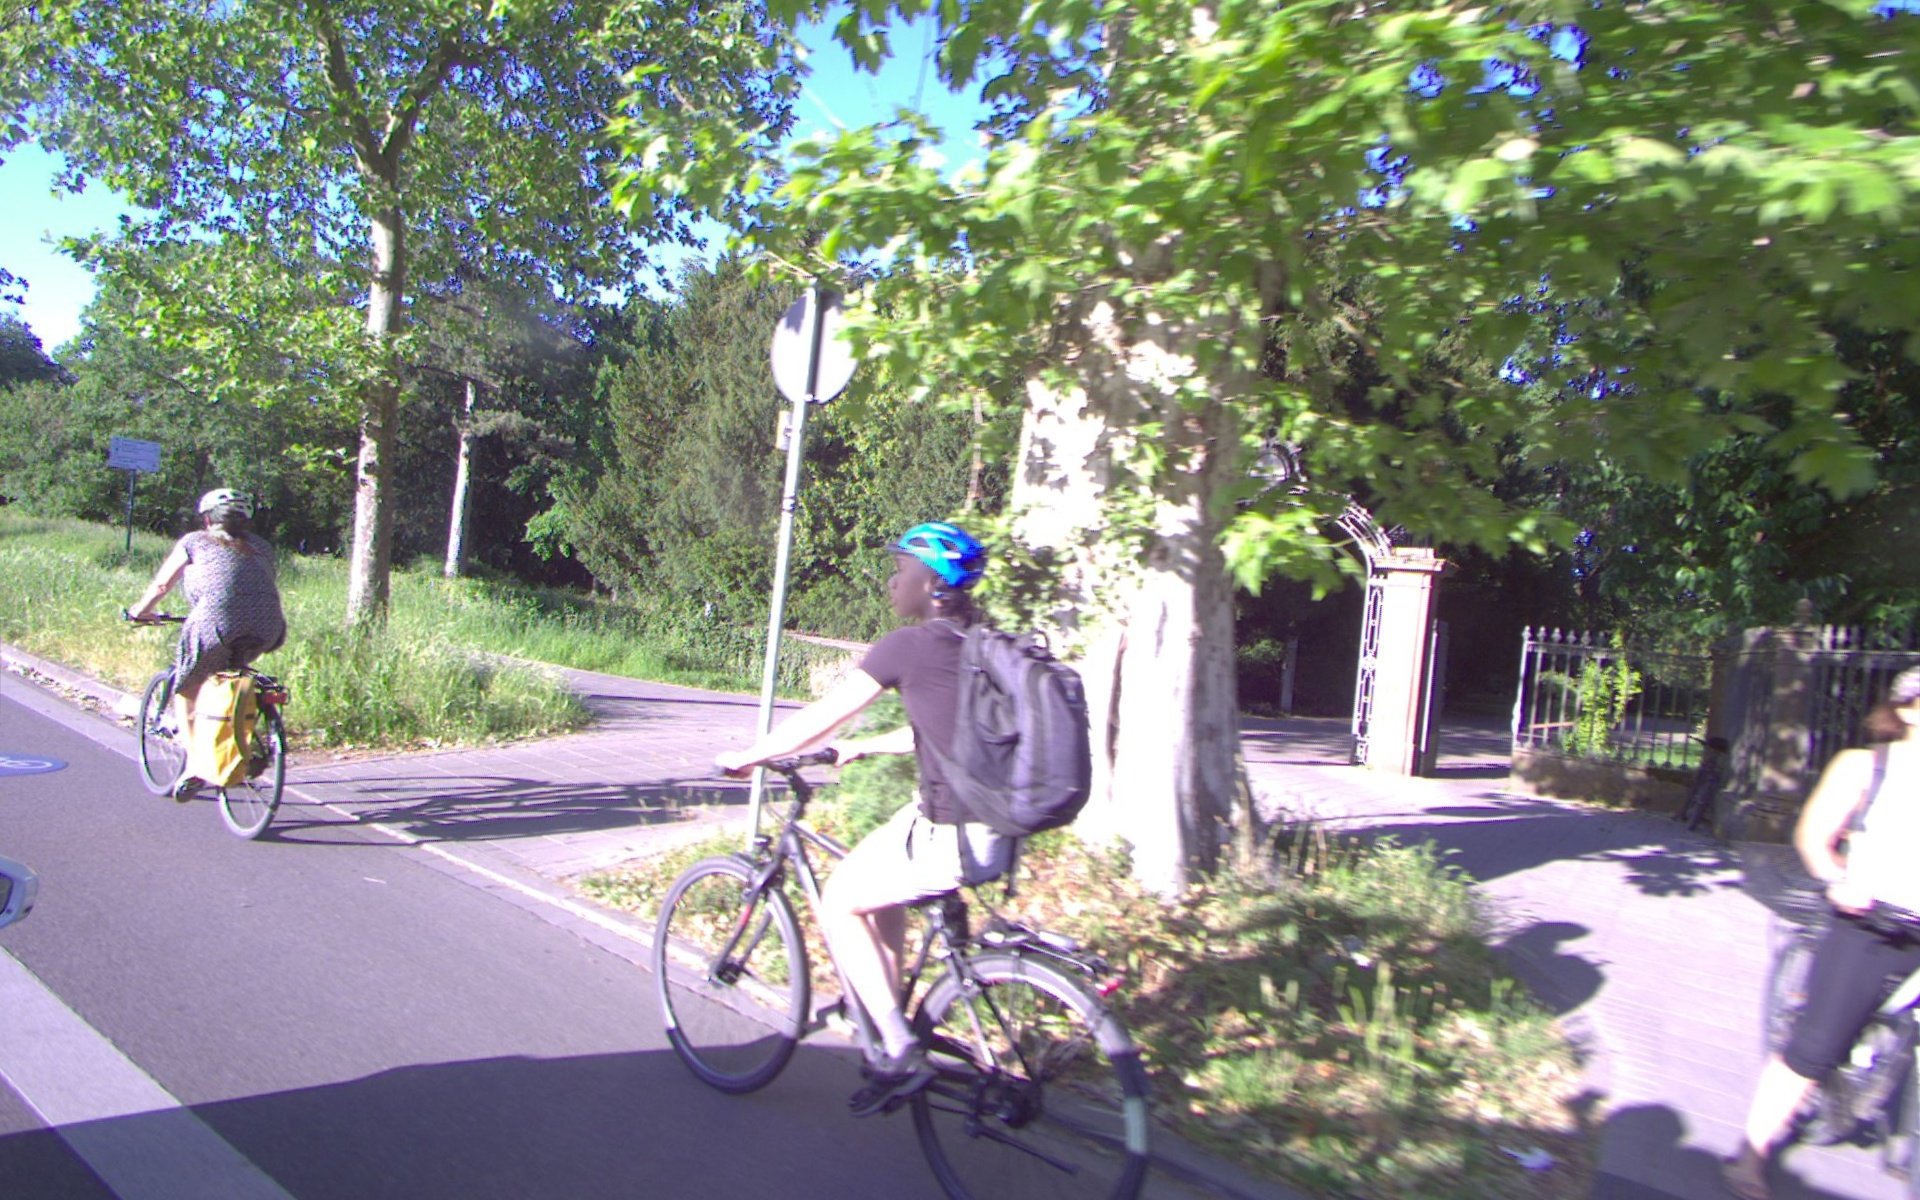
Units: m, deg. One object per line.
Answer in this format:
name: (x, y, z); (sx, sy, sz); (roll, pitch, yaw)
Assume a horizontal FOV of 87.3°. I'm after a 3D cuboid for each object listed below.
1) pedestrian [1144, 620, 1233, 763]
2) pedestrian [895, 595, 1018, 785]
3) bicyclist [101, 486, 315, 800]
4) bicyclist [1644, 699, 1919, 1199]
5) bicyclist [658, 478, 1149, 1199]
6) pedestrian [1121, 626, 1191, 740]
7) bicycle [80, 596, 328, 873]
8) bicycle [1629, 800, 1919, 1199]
pedestrian: (2.824, 1.123, 12.435); (0.671, 1.654, 0.688); (6, 1, 41)
pedestrian: (-0.029, 0.784, 8.933); (0.671, 1.565, 0.688); (6, 1, 41)
bicyclist: (-3.997, 0.209, 5.341); (0.790, 1.509, 0.691); (6, 1, 44)
bicyclist: (2.670, 1.085, 3.152); (0.685, 1.465, 0.763); (6, 0, 39)
bicyclist: (-0.125, 0.518, 2.563); (0.877, 1.520, 0.694); (6, 0, 30)
pedestrian: (3.176, 1.350, 16.289); (0.671, 1.731, 0.689); (6, -2, 41)
bicycle: (-4.185, 0.630, 5.489); (2.108, 1.109, 0.691); (6, 0, 44)
bicycle: (2.614, 1.313, 3.104); (0.685, 1.109, 1.983); (6, 0, 39)
